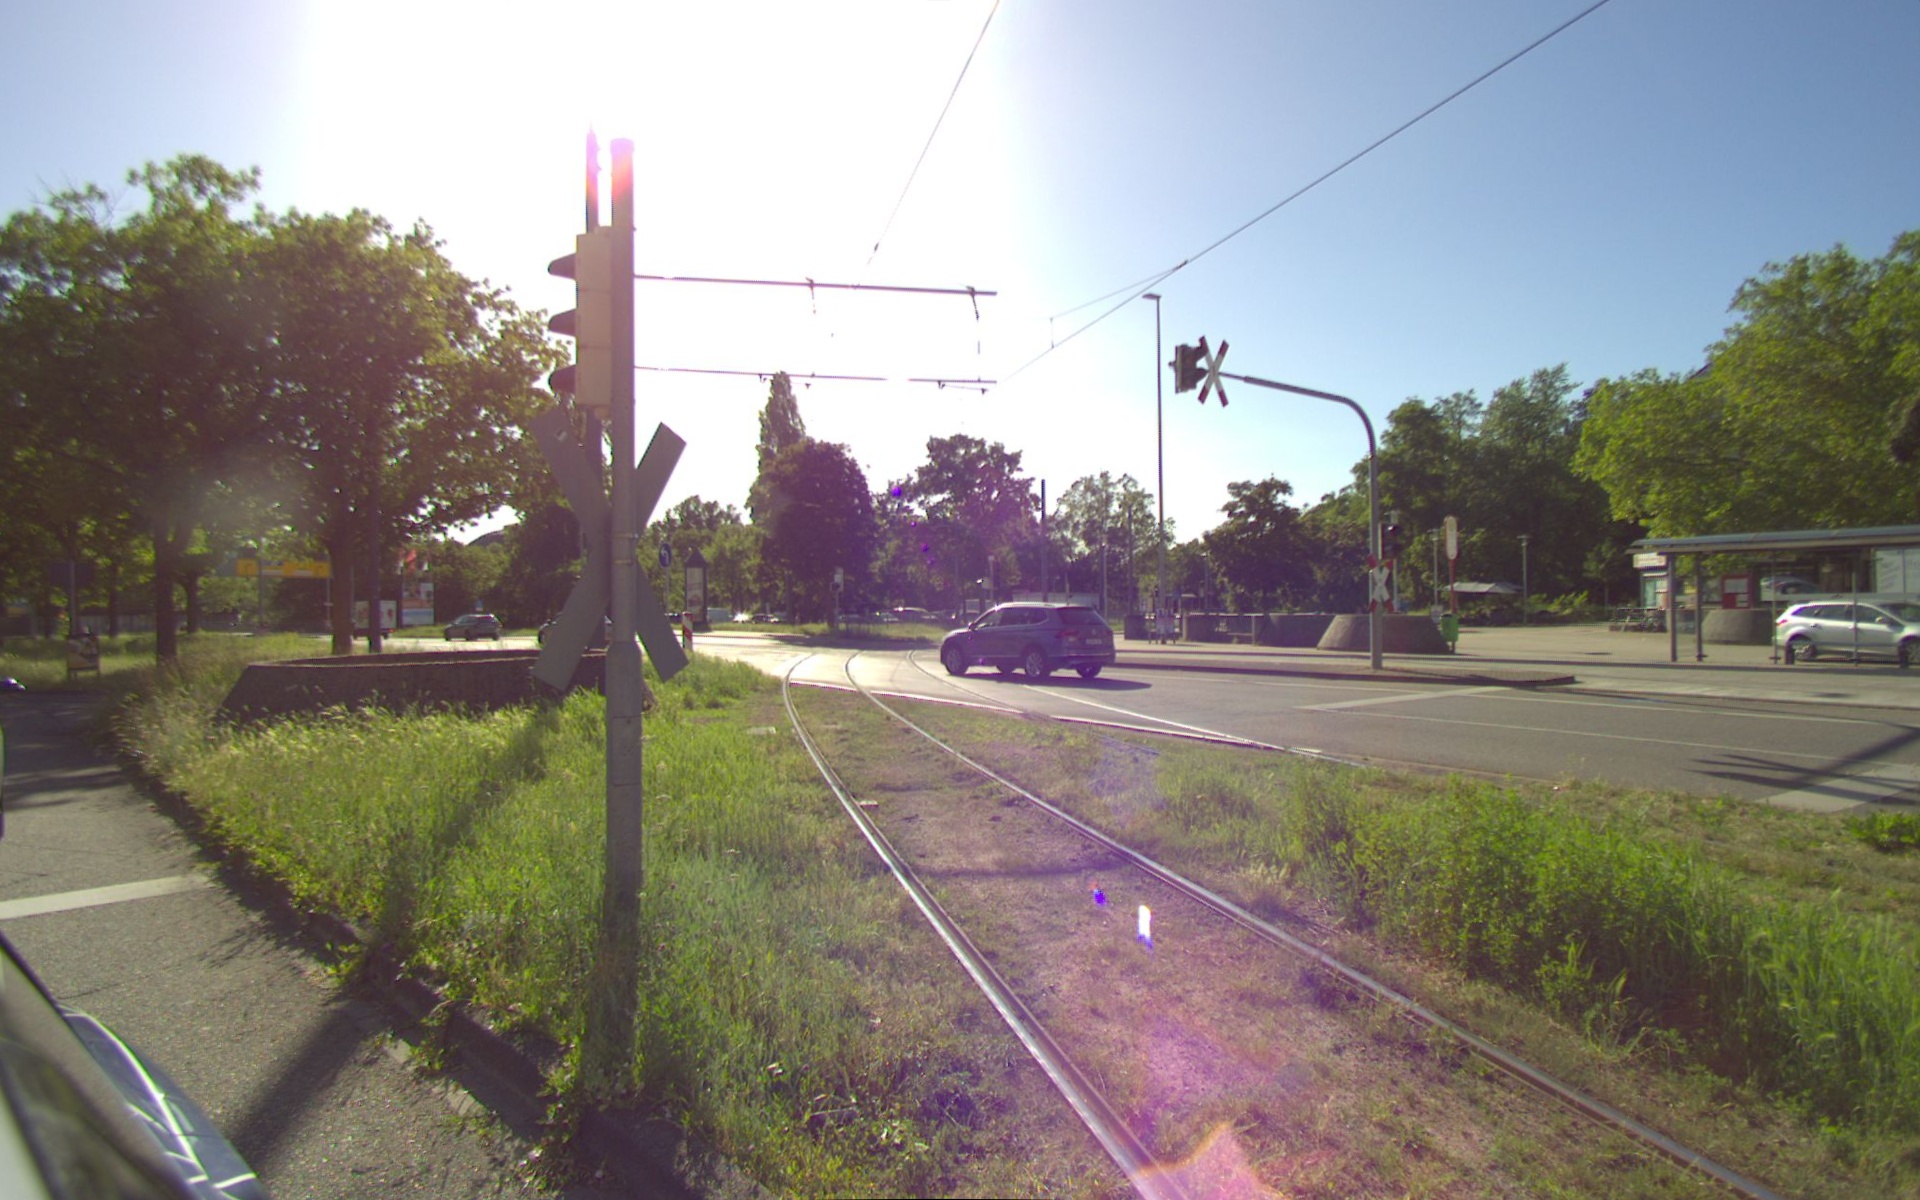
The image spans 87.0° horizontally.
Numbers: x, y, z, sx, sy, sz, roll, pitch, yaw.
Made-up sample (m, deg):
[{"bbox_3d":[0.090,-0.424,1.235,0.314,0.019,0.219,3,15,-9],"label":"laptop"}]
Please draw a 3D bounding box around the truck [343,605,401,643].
[{"bbox_3d":[-38.938,1.574,67.021,4.101,2.445,1.772,-1,-1,36],"label":"truck"}]

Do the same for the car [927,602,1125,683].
[{"bbox_3d":[1.348,0.909,22.781,1.730,1.626,4.732,0,-1,-38],"label":"car"}]

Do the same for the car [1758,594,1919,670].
[{"bbox_3d":[21.588,0.701,23.593,1.843,1.555,4.558,-4,0,-9],"label":"car"}]

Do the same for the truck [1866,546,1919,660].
[{"bbox_3d":[27.708,0.025,27.463,4.751,3.017,2.004,-2,-1,-10],"label":"truck"}]

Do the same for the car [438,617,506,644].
[{"bbox_3d":[-28.074,1.762,58.116,4.393,1.459,1.648,-1,-1,36],"label":"car"}]

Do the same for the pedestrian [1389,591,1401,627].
[{"bbox_3d":[22.285,0.445,51.836,0.556,1.843,0.721,-1,-1,24],"label":"pedestrian"}]

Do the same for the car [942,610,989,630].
[{"bbox_3d":[0.491,1.795,92.528,3.926,1.732,1.873,-1,-1,14],"label":"car"}]

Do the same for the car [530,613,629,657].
[{"bbox_3d":[-15.018,1.351,39.877,4.388,1.574,1.971,-2,-1,44],"label":"car"}]

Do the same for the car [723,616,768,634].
[{"bbox_3d":[-16.397,1.925,77.607,1.979,1.292,3.985,-1,0,12],"label":"car"}]

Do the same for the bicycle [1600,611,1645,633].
[{"bbox_3d":[26.462,0.864,40.432,0.539,0.845,1.687,-1,-1,-5],"label":"bicycle"}]

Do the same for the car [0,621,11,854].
[{"bbox_3d":[-8.486,0.972,7.569,3.980,1.563,1.757,-2,-1,43],"label":"car"}]

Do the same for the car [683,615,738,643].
[{"bbox_3d":[-19.370,2.206,78.831,2.216,2.029,4.980,-1,-1,12],"label":"car"}]
